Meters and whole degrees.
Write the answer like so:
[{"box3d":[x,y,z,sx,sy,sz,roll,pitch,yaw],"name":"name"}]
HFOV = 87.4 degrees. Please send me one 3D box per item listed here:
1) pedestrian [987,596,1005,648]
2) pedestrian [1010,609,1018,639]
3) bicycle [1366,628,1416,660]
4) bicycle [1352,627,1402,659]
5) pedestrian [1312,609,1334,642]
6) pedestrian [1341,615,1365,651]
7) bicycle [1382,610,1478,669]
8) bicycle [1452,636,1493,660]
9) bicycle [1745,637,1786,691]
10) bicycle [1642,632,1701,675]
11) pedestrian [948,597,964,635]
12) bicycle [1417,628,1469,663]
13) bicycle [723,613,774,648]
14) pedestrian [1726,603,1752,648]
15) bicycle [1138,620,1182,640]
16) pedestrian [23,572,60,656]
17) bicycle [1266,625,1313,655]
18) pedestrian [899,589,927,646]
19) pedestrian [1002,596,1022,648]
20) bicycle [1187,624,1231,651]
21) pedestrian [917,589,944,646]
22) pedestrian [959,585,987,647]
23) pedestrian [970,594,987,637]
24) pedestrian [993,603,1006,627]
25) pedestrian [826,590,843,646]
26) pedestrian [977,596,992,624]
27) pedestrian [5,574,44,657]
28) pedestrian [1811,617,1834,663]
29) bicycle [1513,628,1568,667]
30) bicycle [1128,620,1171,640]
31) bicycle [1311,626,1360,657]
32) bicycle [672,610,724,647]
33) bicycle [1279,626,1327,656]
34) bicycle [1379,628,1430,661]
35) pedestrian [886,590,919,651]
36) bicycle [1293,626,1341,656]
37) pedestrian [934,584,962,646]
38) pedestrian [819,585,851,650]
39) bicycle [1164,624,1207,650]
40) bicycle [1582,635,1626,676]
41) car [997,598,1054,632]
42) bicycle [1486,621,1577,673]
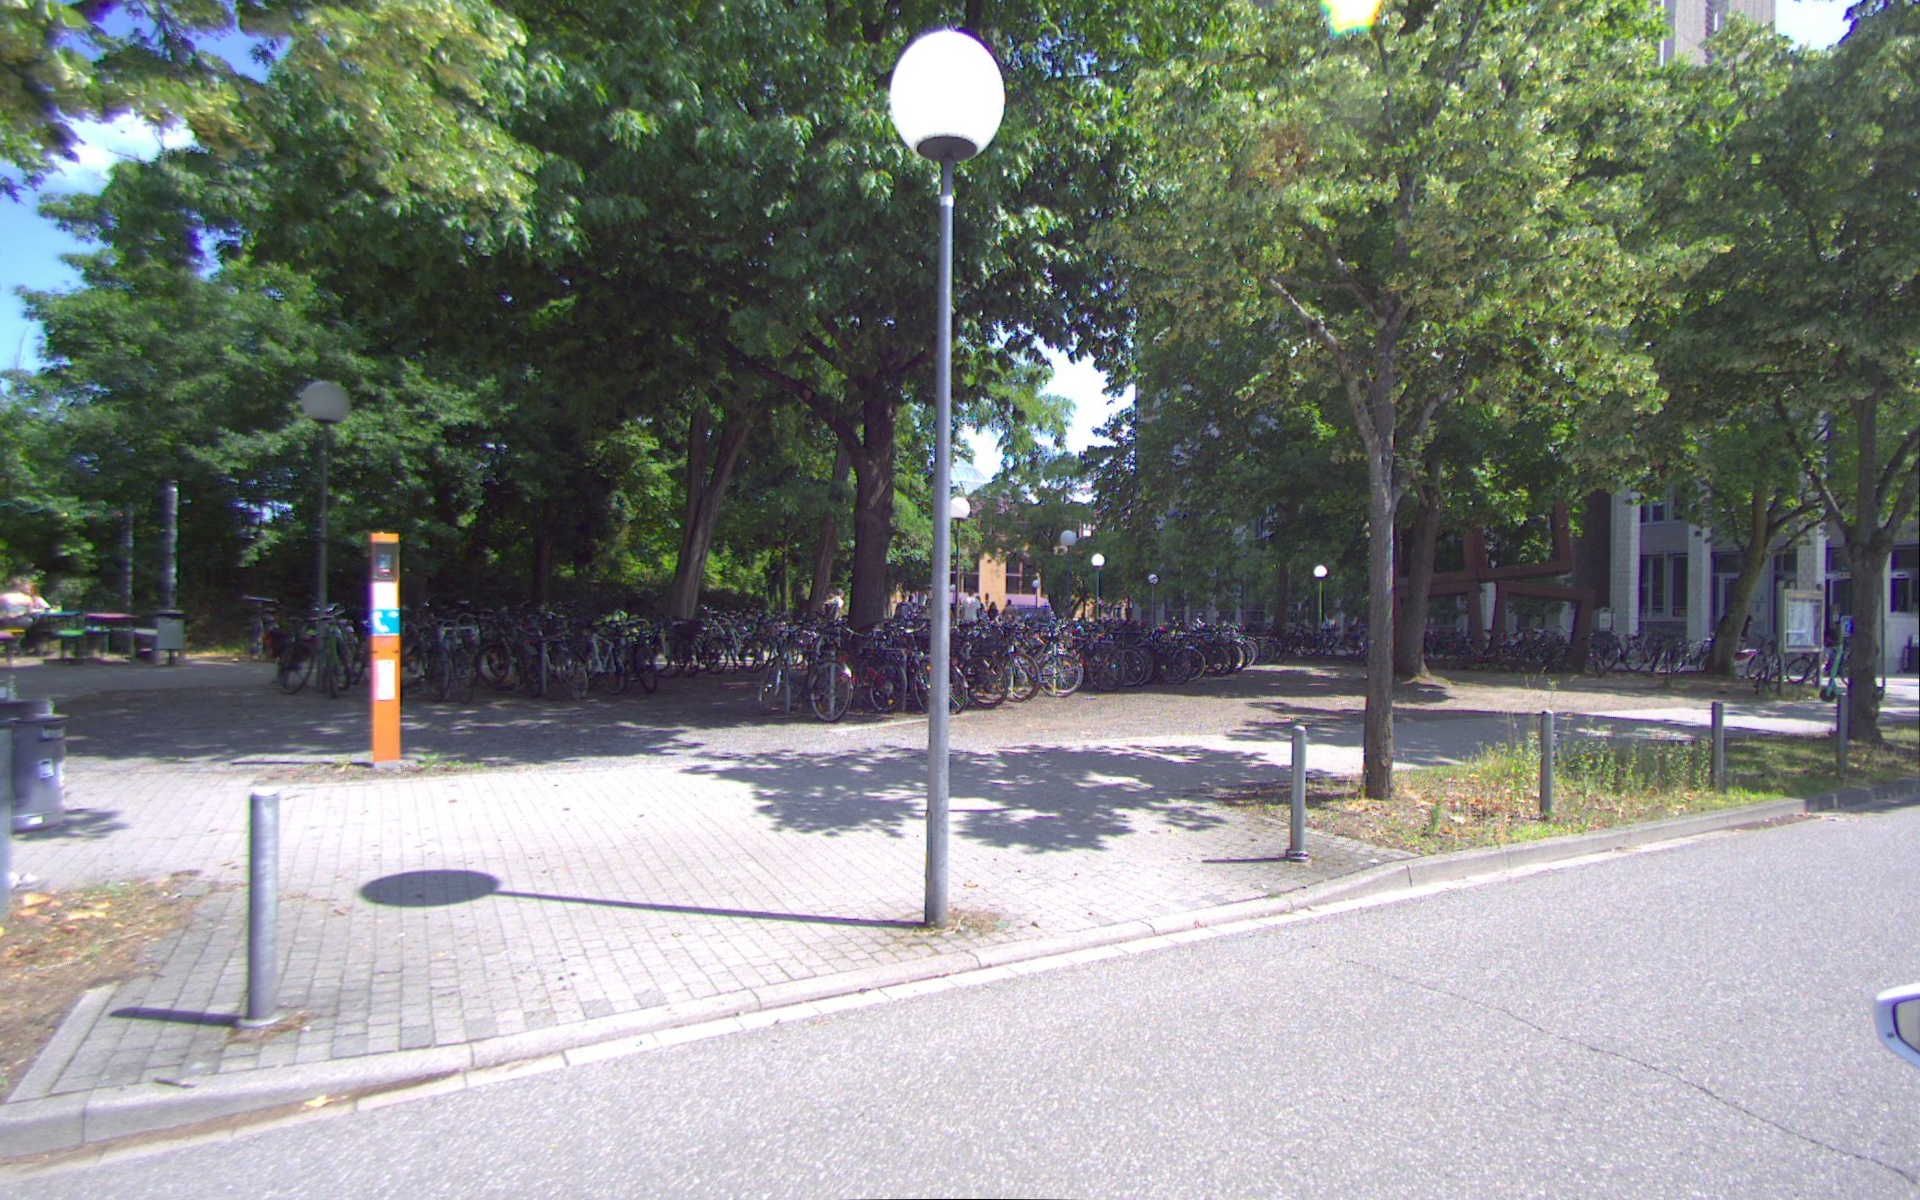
[{"box3d":[1.439,0.871,40.293,0.511,2.040,0.532,1,0,-15],"name":"pedestrian"},{"box3d":[3.794,1.693,70.508,0.457,2.040,0.611,1,1,3],"name":"pedestrian"},{"box3d":[15.288,1.552,35.636,1.950,1.101,0.549,2,1,-31],"name":"bicycle"},{"box3d":[15.057,1.563,36.256,1.950,1.101,0.549,2,1,-31],"name":"bicycle"},{"box3d":[17.302,1.229,47.919,0.714,1.561,0.696,1,0,-40],"name":"pedestrian"},{"box3d":[18.040,1.518,46.147,0.590,1.614,0.824,1,0,-28],"name":"pedestrian"},{"box3d":[12.406,1.031,26.561,2.248,1.469,0.606,1,0,28],"name":"bicycle"},{"box3d":[21.157,1.973,41.448,1.971,0.959,0.522,1,-1,-31],"name":"bicycle"},{"box3d":[16.431,1.288,20.474,1.802,1.039,0.378,2,0,-43],"name":"bicycle"},{"box3d":[19.641,1.470,27.731,1.950,1.101,0.549,2,1,-31],"name":"bicycle"},{"box3d":[-0.166,0.652,40.771,0.402,1.547,0.486,2,0,29],"name":"pedestrian"},{"box3d":[16.205,1.525,33.694,1.950,1.101,0.549,2,1,-31],"name":"bicycle"},{"box3d":[-5.979,0.854,28.380,1.741,0.906,0.417,2,1,41],"name":"bicycle"},{"box3d":[29.520,0.970,38.093,0.623,1.683,0.693,1,0,26],"name":"pedestrian"},{"box3d":[9.181,1.394,45.966,2.258,0.887,0.417,2,0,-31],"name":"bicycle"},{"box3d":[-17.118,0.255,18.722,0.470,1.543,0.501,1,1,-41],"name":"pedestrian"},{"box3d":[12.755,1.552,38.869,1.950,1.101,0.549,2,1,-31],"name":"bicycle"},{"box3d":[-1.421,0.514,30.440,0.545,1.693,0.703,2,0,25],"name":"pedestrian"},{"box3d":[2.080,0.888,40.236,0.583,2.040,0.532,1,0,-15],"name":"pedestrian"},{"box3d":[10.686,1.608,43.106,1.950,1.101,0.549,2,1,-31],"name":"bicycle"},{"box3d":[-0.889,0.523,30.201,0.545,1.693,0.693,2,0,25],"name":"pedestrian"},{"box3d":[0.427,0.513,32.371,0.635,1.960,0.696,2,0,25],"name":"pedestrian"},{"box3d":[0.747,0.634,40.619,0.405,1.736,0.544,2,0,29],"name":"pedestrian"},{"box3d":[2.686,1.012,68.156,0.595,1.627,0.627,1,0,-30],"name":"pedestrian"},{"box3d":[-3.656,0.522,29.285,0.453,1.636,0.350,1,0,-11],"name":"pedestrian"},{"box3d":[1.400,0.580,58.520,0.751,1.617,0.391,1,0,-31],"name":"pedestrian"},{"box3d":[-16.594,0.276,17.823,0.456,1.441,0.501,1,1,-40],"name":"pedestrian"},{"box3d":[26.428,1.219,30.772,0.440,1.402,0.462,-3,1,-40],"name":"pedestrian"},{"box3d":[16.354,1.329,28.283,1.828,1.046,0.473,2,0,-30],"name":"bicycle"},{"box3d":[8.790,1.398,46.531,2.258,0.887,0.417,2,0,-31],"name":"bicycle"},{"box3d":[13.842,1.534,36.983,1.950,1.101,0.549,2,1,-31],"name":"bicycle"},{"box3d":[-6.968,0.756,26.657,1.741,0.906,0.417,2,1,41],"name":"bicycle"},{"box3d":[13.064,1.555,38.237,1.950,1.101,0.549,2,1,-31],"name":"bicycle"},{"box3d":[15.492,1.539,34.991,1.950,1.101,0.549,2,1,-31],"name":"bicycle"},{"box3d":[-1.635,0.568,28.463,0.620,1.693,0.730,2,0,25],"name":"pedestrian"},{"box3d":[13.413,1.541,37.710,1.950,1.101,0.549,2,1,-31],"name":"bicycle"},{"box3d":[-0.390,0.485,32.728,0.610,1.960,0.681,2,0,25],"name":"pedestrian"},{"box3d":[-3.327,0.455,26.679,0.567,1.693,0.630,2,0,25],"name":"pedestrian"},{"box3d":[9.986,1.623,44.451,1.950,1.101,0.549,2,1,-31],"name":"bicycle"},{"box3d":[15.995,1.365,24.938,1.644,0.978,0.471,2,0,-42],"name":"bicycle"},{"box3d":[5.571,1.237,85.122,4.583,2.813,1.980,1,0,-36],"name":"car"},{"box3d":[14.458,1.180,25.459,1.984,1.270,0.586,0,-1,28],"name":"bicycle"}]
